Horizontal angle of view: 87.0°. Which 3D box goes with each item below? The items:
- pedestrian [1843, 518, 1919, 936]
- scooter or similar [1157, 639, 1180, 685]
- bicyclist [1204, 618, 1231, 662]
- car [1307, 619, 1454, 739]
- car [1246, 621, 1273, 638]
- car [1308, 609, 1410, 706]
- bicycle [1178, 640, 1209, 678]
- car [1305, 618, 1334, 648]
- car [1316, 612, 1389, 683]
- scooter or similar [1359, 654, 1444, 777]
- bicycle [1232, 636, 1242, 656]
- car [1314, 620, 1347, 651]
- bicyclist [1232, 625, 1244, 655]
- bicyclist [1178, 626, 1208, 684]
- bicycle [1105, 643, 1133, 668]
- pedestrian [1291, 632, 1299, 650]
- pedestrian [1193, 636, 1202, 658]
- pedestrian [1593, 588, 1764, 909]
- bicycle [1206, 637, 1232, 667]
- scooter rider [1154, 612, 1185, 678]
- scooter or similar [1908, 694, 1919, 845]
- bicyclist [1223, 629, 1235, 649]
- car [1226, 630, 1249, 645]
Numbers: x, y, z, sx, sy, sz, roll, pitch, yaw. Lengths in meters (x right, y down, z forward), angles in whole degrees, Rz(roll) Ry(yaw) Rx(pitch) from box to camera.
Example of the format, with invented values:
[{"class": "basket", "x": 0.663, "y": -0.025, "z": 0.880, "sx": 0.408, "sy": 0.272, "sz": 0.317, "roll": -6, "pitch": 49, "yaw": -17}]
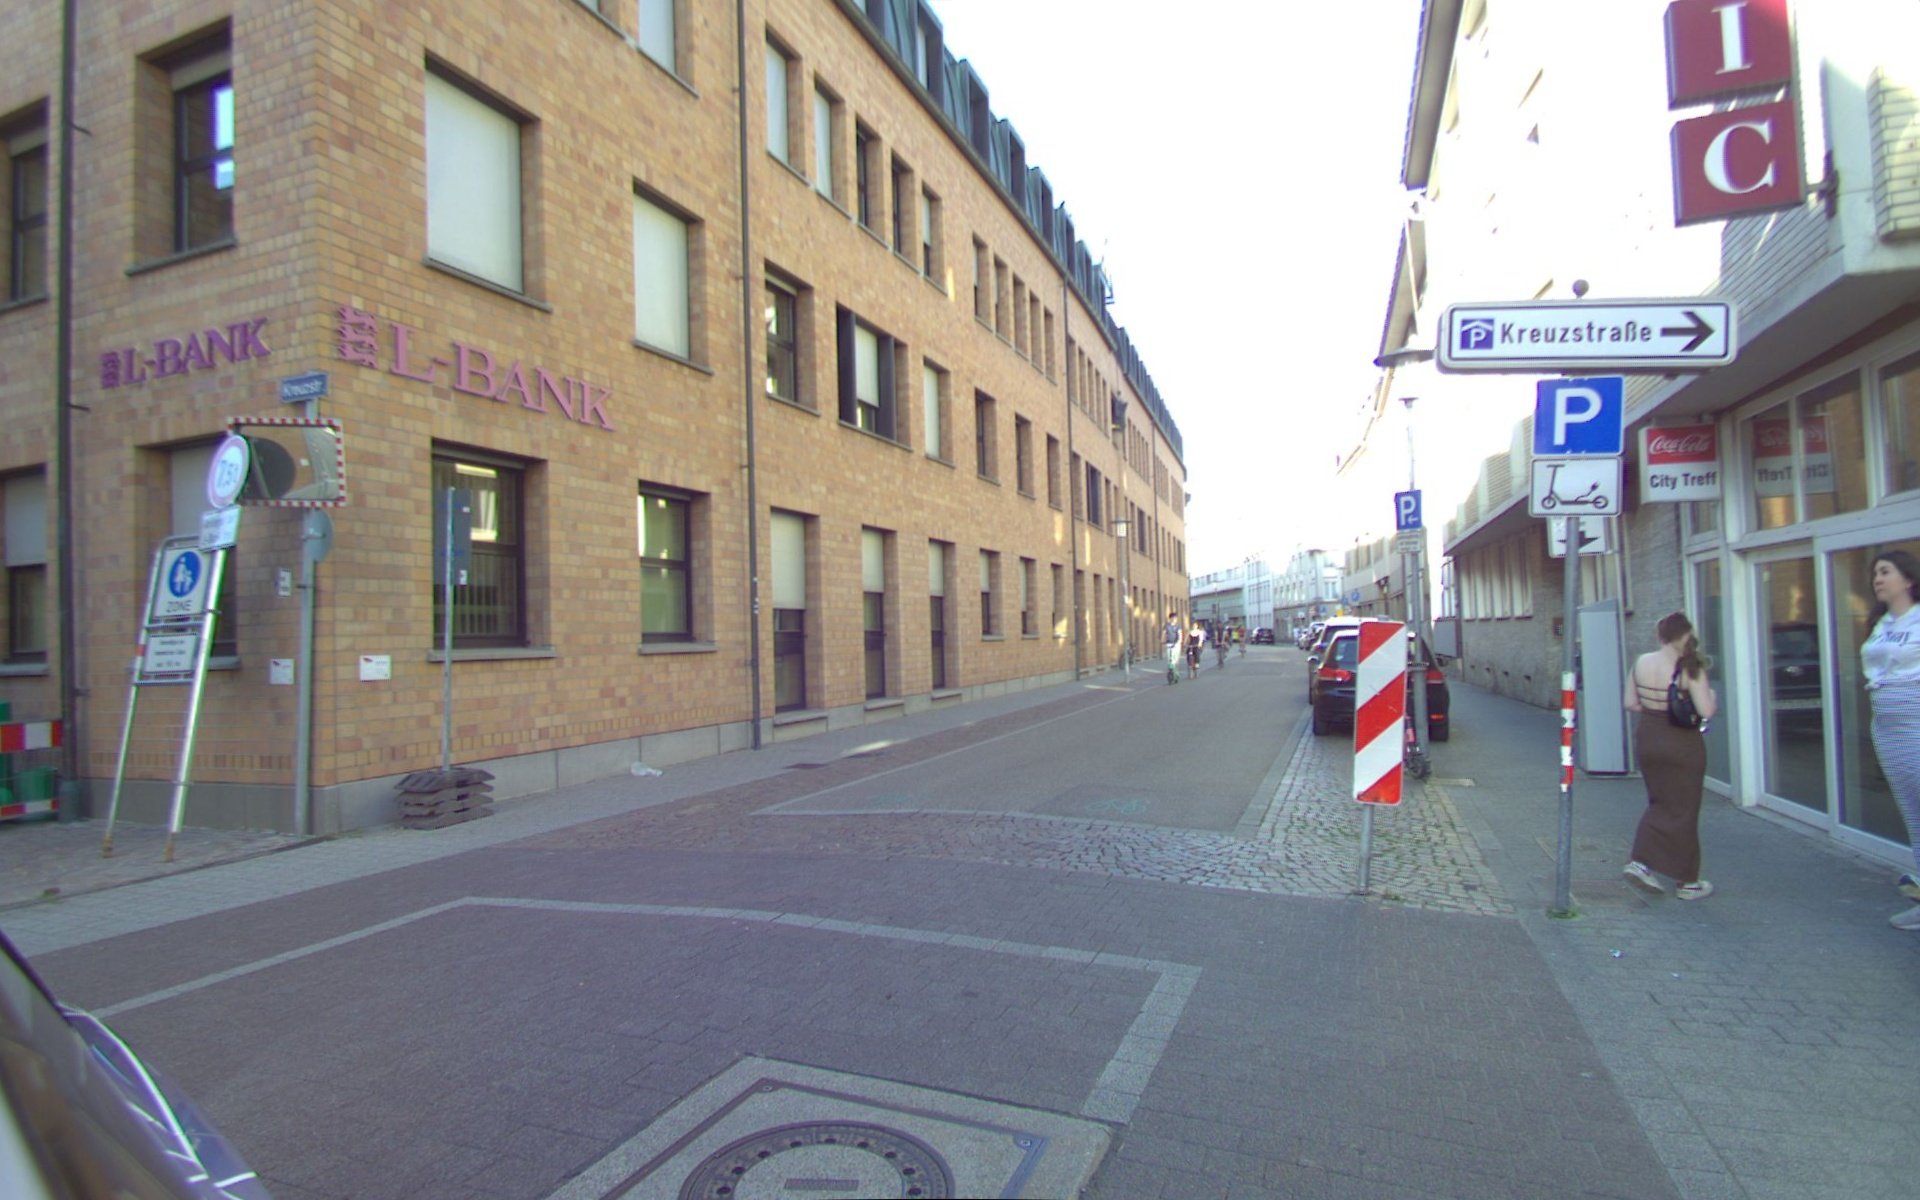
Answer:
[{"class": "pedestrian", "x": 4.548, "y": 0.542, "z": 4.516, "sx": 0.561, "sy": 1.833, "sz": 0.661, "roll": -1, "pitch": -5, "yaw": -39}, {"class": "scooter or similar", "x": 5.641, "y": 1.658, "z": 27.354, "sx": 0.335, "sy": 1.195, "sz": 1.270, "roll": -5, "pitch": -4, "yaw": 21}, {"class": "bicyclist", "x": 9.485, "y": 1.463, "z": 37.223, "sx": 0.646, "sy": 1.570, "sz": 1.100, "roll": -6, "pitch": -4, "yaw": 24}, {"class": "car", "x": 6.030, "y": 1.080, "z": 14.743, "sx": 1.728, "sy": 1.497, "sz": 3.784, "roll": 0, "pitch": -3, "yaw": 21}, {"class": "car", "x": 29.494, "y": 2.930, "z": 99.756, "sx": 1.913, "sy": 1.663, "sz": 3.828, "roll": -2, "pitch": -2, "yaw": 7}, {"class": "car", "x": 7.707, "y": 1.070, "z": 19.692, "sx": 1.662, "sy": 1.674, "sz": 4.052, "roll": 0, "pitch": -2, "yaw": 21}, {"class": "bicycle", "x": 7.068, "y": 1.775, "z": 30.551, "sx": 0.587, "sy": 1.060, "sz": 1.788, "roll": -5, "pitch": -3, "yaw": 21}, {"class": "car", "x": 22.664, "y": 2.083, "z": 63.860, "sx": 1.680, "sy": 1.789, "sz": 3.632, "roll": 0, "pitch": -2, "yaw": 19}, {"class": "car", "x": 10.305, "y": 1.222, "z": 26.658, "sx": 1.662, "sy": 1.717, "sz": 3.984, "roll": 0, "pitch": -2, "yaw": 21}, {"class": "scooter or similar", "x": 4.535, "y": 1.162, "z": 10.428, "sx": 0.205, "sy": 1.193, "sz": 0.885, "roll": -1, "pitch": -3, "yaw": -19}, {"class": "bicycle", "x": 13.980, "y": 2.295, "z": 51.075, "sx": 0.432, "sy": 0.964, "sz": 1.581, "roll": -2, "pitch": -2, "yaw": 17}, {"class": "car", "x": 21.179, "y": 2.024, "z": 57.917, "sx": 1.680, "sy": 1.692, "sz": 3.485, "roll": 0, "pitch": -2, "yaw": 19}, {"class": "bicyclist", "x": 13.995, "y": 2.013, "z": 50.981, "sx": 0.425, "sy": 1.509, "sz": 0.870, "roll": -4, "pitch": -4, "yaw": 18}, {"class": "bicyclist", "x": 7.013, "y": 1.637, "z": 30.464, "sx": 0.616, "sy": 1.679, "sz": 0.818, "roll": -5, "pitch": -4, "yaw": 22}, {"class": "bicycle", "x": 6.124, "y": 2.118, "z": 38.849, "sx": 0.638, "sy": 0.888, "sz": 2.541, "roll": -1, "pitch": -2, "yaw": 18}, {"class": "pedestrian", "x": 28.024, "y": 3.454, "z": 84.592, "sx": 0.566, "sy": 1.490, "sz": 0.472, "roll": -2, "pitch": -3, "yaw": 14}, {"class": "pedestrian", "x": 16.730, "y": 3.330, "z": 71.325, "sx": 0.539, "sy": 1.556, "sz": 0.402, "roll": -1, "pitch": -2, "yaw": 20}, {"class": "pedestrian", "x": 3.839, "y": 0.758, "z": 5.412, "sx": 0.534, "sy": 1.592, "sz": 0.503, "roll": -8, "pitch": -6, "yaw": 44}, {"class": "bicycle", "x": 9.537, "y": 1.900, "z": 37.210, "sx": 0.570, "sy": 1.059, "sz": 1.821, "roll": -4, "pitch": -3, "yaw": 23}, {"class": "scooter rider", "x": 5.697, "y": 1.222, "z": 27.484, "sx": 0.644, "sy": 1.739, "sz": 0.697, "roll": -3, "pitch": -4, "yaw": 21}, {"class": "scooter or similar", "x": 4.063, "y": 0.889, "z": 3.497, "sx": 0.937, "sy": 1.152, "sz": 0.801, "roll": -1, "pitch": -3, "yaw": -26}, {"class": "bicyclist", "x": 23.163, "y": 3.382, "z": 87.256, "sx": 0.764, "sy": 1.668, "sz": 0.954, "roll": -5, "pitch": -4, "yaw": 10}, {"class": "car", "x": 31.694, "y": 4.236, "z": 115.765, "sx": 1.913, "sy": 1.663, "sz": 3.828, "roll": -1, "pitch": -2, "yaw": 7}]
